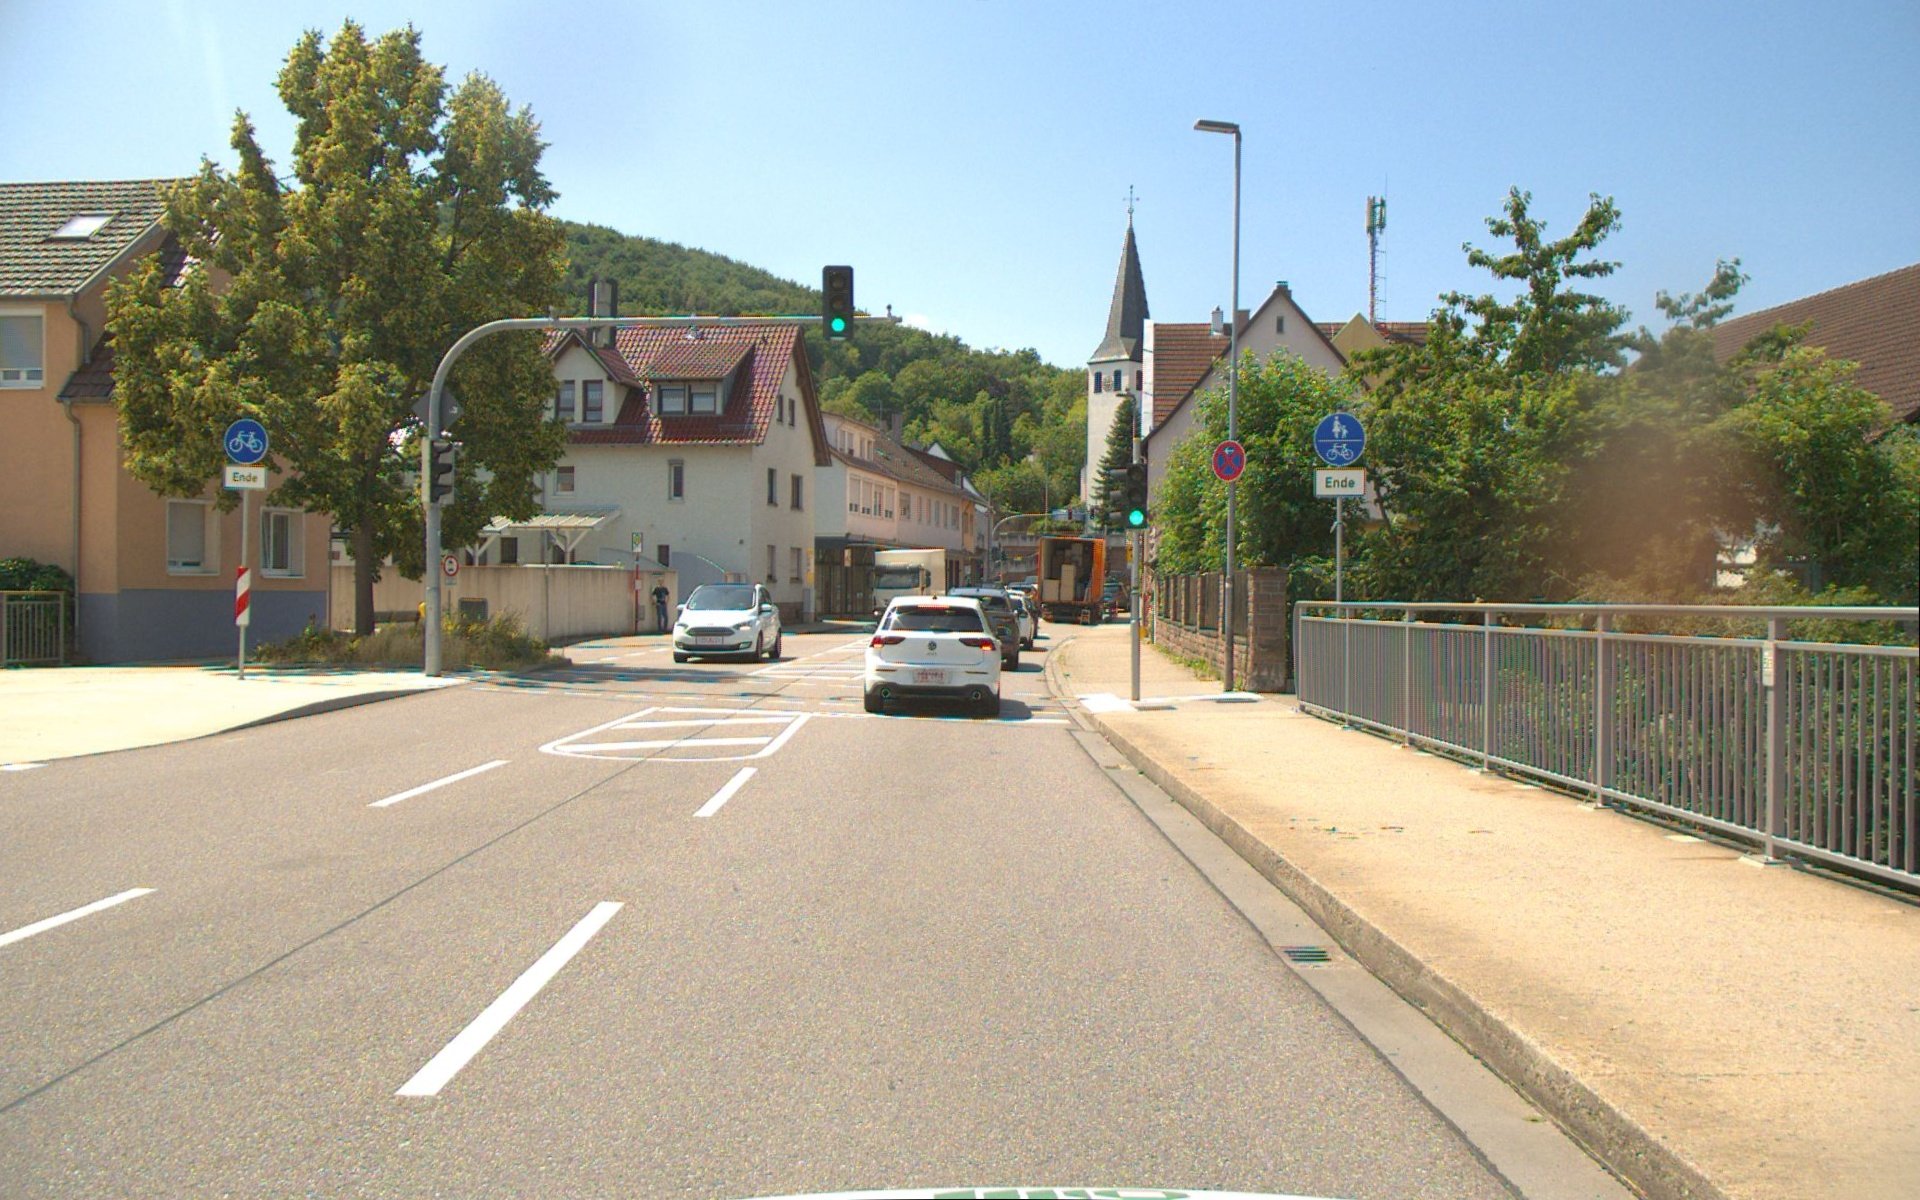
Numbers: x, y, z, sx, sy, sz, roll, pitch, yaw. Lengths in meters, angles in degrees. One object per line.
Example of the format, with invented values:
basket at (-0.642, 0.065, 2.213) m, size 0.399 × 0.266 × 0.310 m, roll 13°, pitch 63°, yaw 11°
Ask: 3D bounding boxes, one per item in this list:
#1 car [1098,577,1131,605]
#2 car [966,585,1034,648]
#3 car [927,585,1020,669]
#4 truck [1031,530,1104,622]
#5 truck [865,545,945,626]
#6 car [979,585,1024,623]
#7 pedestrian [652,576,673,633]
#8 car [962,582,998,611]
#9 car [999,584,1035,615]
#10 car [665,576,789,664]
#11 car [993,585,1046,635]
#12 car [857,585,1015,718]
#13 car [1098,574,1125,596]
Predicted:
car at (9.012, -0.517, 96.644) m, size 1.777 × 1.545 × 4.001 m, roll -1°, pitch 0°, yaw 3°
car at (1.162, 0.447, 46.290) m, size 1.777 × 1.657 × 4.001 m, roll -1°, pitch 0°, yaw 3°
car at (0.340, 0.540, 35.000) m, size 1.777 × 1.657 × 4.001 m, roll -1°, pitch 0°, yaw 3°
truck at (5.428, -1.083, 81.712) m, size 3.296 × 4.243 × 9.525 m, roll -1°, pitch 0°, yaw 5°
truck at (-2.283, -0.587, 70.923) m, size 2.448 × 3.292 × 6.044 m, roll -1°, pitch 0°, yaw 7°
car at (1.788, 0.184, 70.713) m, size 1.777 × 1.545 × 4.001 m, roll -1°, pitch 0°, yaw 3°
pedestrian at (-9.412, 0.152, 52.396) m, size 0.425 × 1.795 × 0.557 m, roll 0°, pitch 0°, yaw 22°
car at (1.217, -0.237, 97.882) m, size 1.702 × 1.680 × 3.671 m, roll 1°, pitch 0°, yaw 7°
car at (2.976, -0.017, 86.263) m, size 1.777 × 1.545 × 4.001 m, roll -1°, pitch 0°, yaw 3°
car at (-4.803, 0.404, 34.594) m, size 1.777 × 1.678 × 4.001 m, roll 2°, pitch 0°, yaw 3°
car at (2.114, 0.341, 57.854) m, size 1.777 × 1.657 × 4.001 m, roll -1°, pitch 0°, yaw 3°
car at (-0.227, 0.628, 21.943) m, size 1.777 × 1.545 × 4.001 m, roll 2°, pitch 0°, yaw 3°
car at (11.037, -1.104, 120.679) m, size 1.777 × 1.545 × 4.001 m, roll -1°, pitch 0°, yaw 3°
